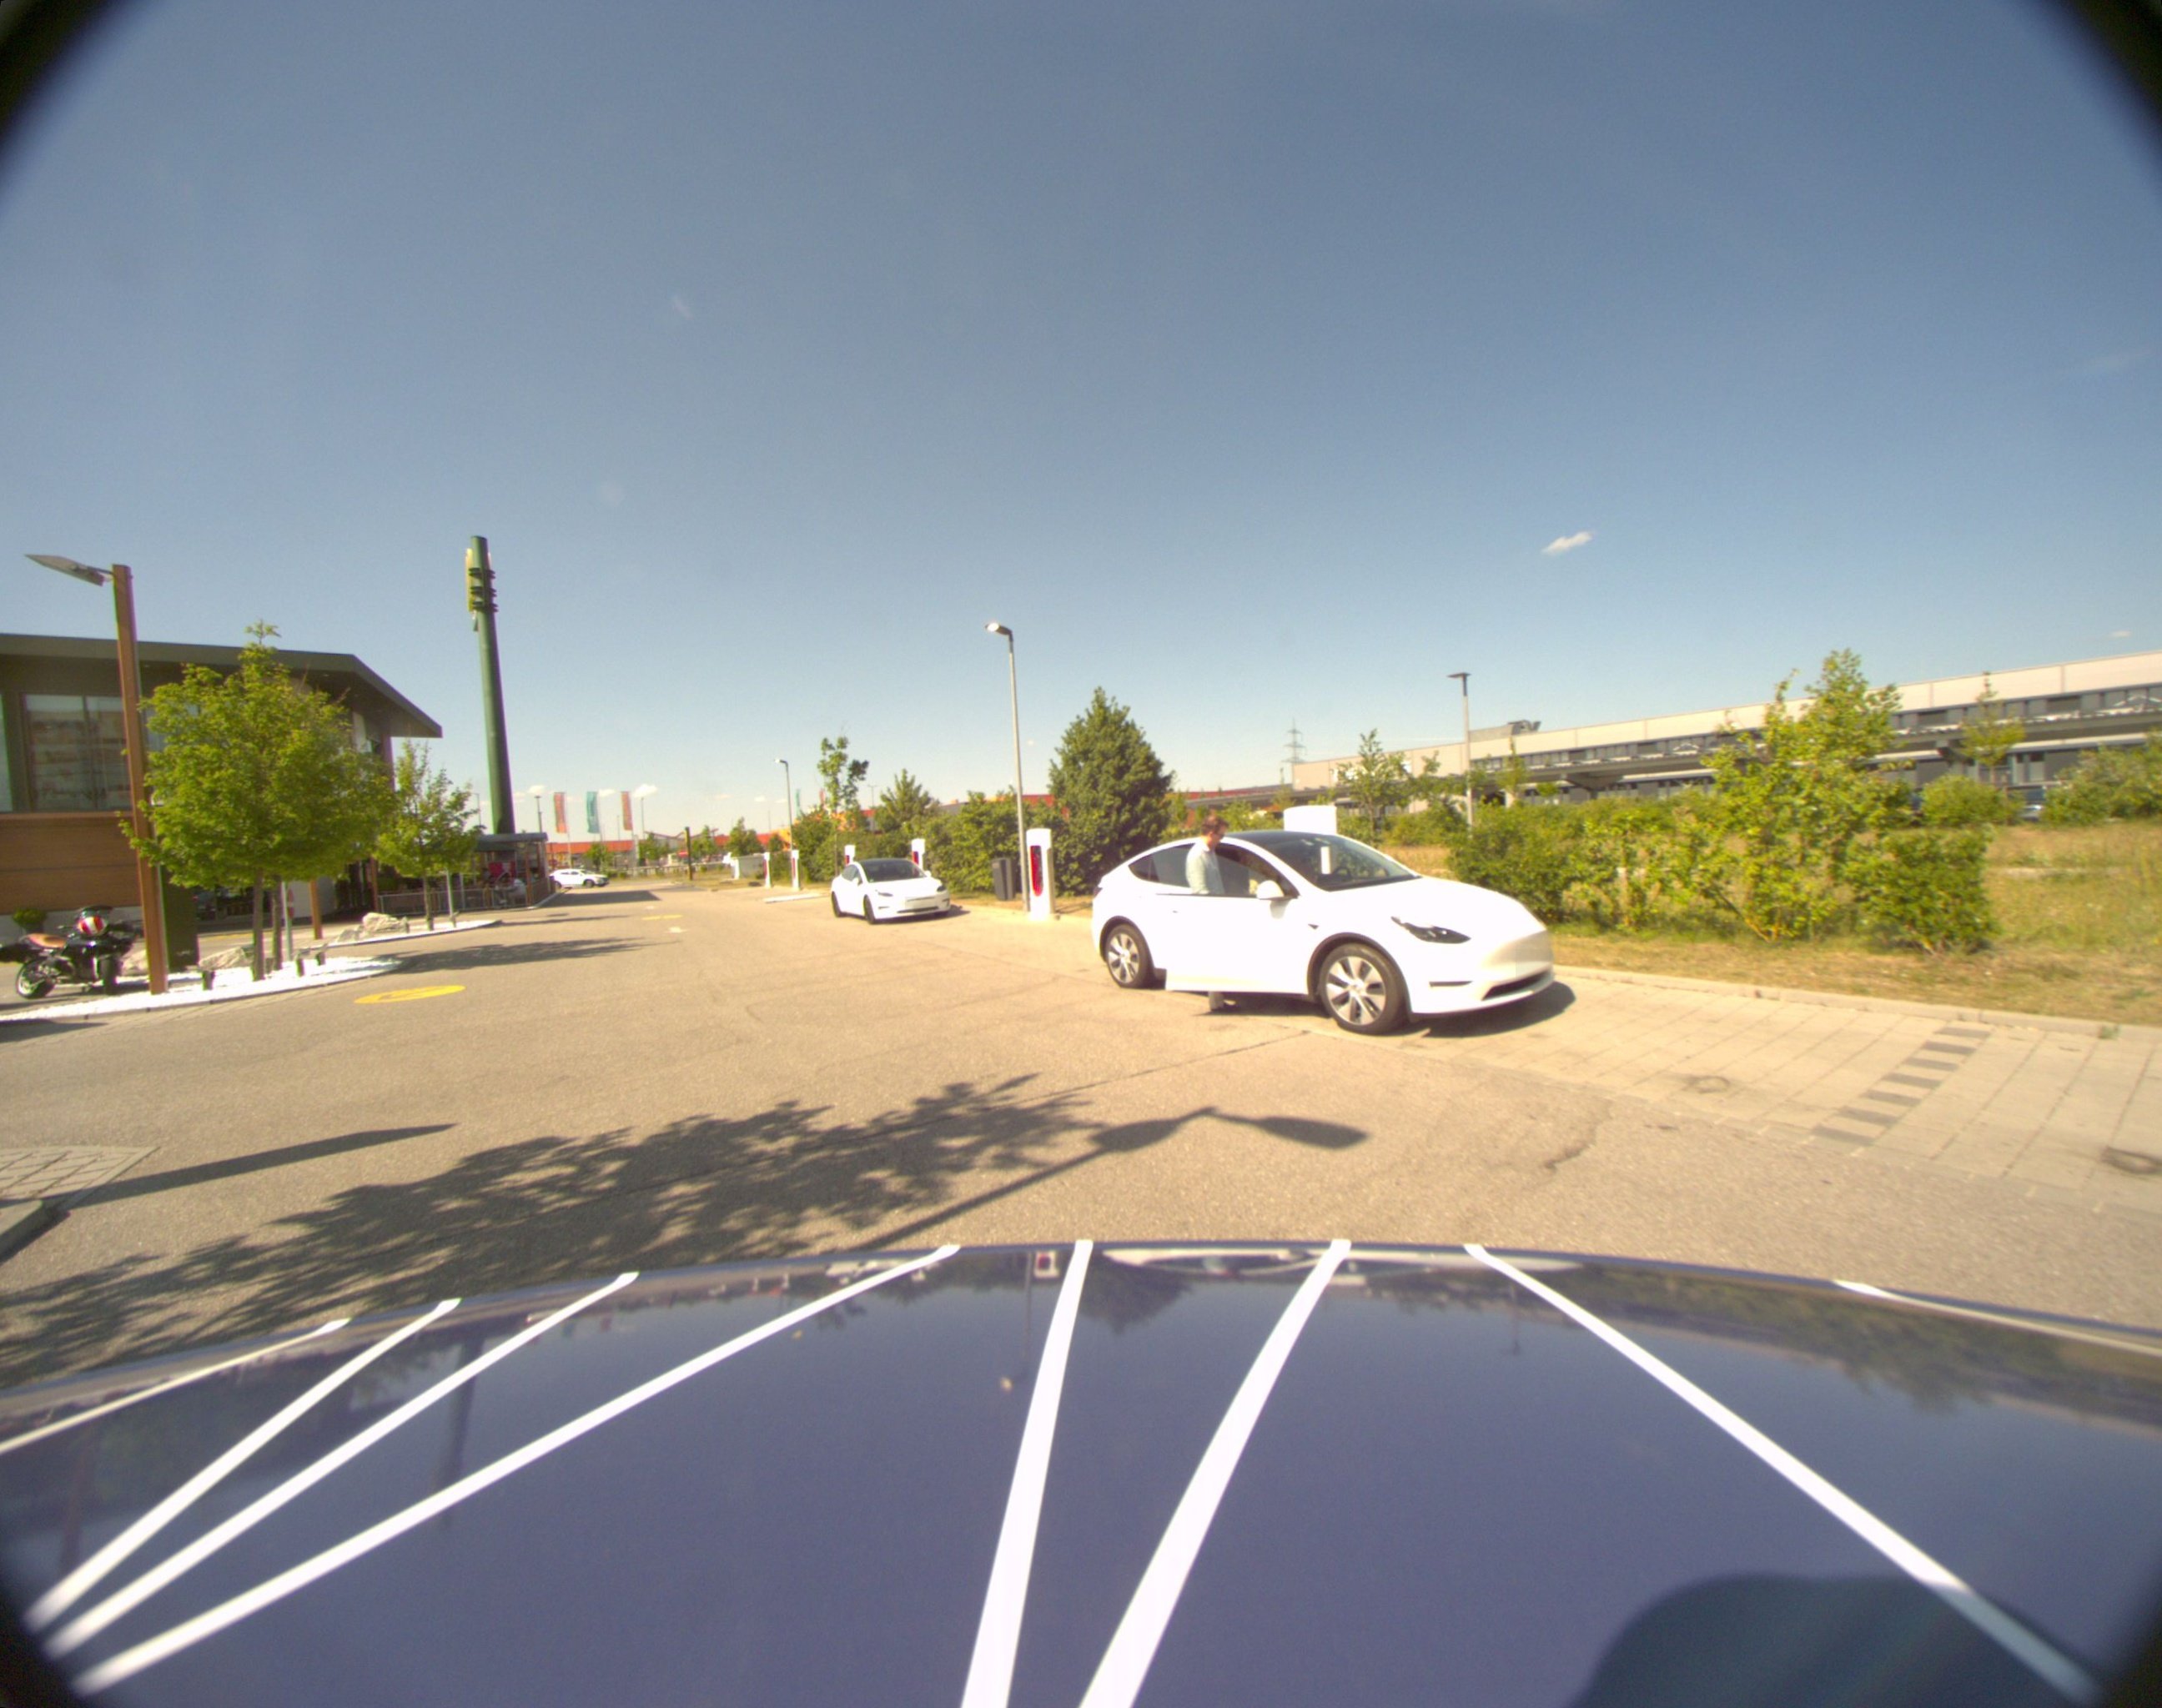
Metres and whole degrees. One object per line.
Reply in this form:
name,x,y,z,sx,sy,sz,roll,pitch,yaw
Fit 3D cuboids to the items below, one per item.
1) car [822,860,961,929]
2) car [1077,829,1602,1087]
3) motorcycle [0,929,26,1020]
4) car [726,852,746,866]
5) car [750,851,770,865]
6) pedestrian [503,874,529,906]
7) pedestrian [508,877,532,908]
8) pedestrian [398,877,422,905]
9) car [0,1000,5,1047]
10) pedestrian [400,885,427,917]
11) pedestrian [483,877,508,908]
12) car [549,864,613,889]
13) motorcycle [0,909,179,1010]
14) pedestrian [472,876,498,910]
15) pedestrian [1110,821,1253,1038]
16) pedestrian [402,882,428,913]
car,-4.753,0.898,18.571,1.825,1.370,4.437,-5,2,-34
car,2.051,0.686,7.306,1.873,1.591,4.477,-5,2,-35
motorcycle,-15.978,1.753,10.353,2.139,1.224,0.821,-4,2,6
car,-50.819,0.765,111.793,2.003,2.002,3.990,-4,1,-32
car,-48.180,0.585,113.933,2.003,2.002,3.990,-4,1,-32
pedestrian,-22.995,1.449,30.915,0.731,1.251,0.572,-5,3,-37
pedestrian,-23.796,1.629,32.241,0.731,1.251,0.572,-5,3,-37
pedestrian,-27.807,1.536,31.507,0.574,1.094,0.655,-5,2,-33
car,-14.021,1.485,7.734,4.184,1.528,1.897,-3,2,11
pedestrian,-25.282,1.782,28.781,0.635,1.117,0.523,-5,3,-36
pedestrian,-24.499,1.601,31.787,0.717,1.251,0.523,-5,3,-36
car,-41.337,1.849,62.903,3.997,1.652,1.809,-4,2,-1
motorcycle,-15.327,1.590,11.485,2.249,1.244,1.071,-5,3,10
pedestrian,-23.567,1.535,30.060,0.717,1.251,0.523,-5,3,-36
pedestrian,0.902,0.632,6.989,0.738,1.790,1.033,-5,2,-28
pedestrian,-25.698,1.665,29.325,0.635,1.117,0.523,-5,3,-36
